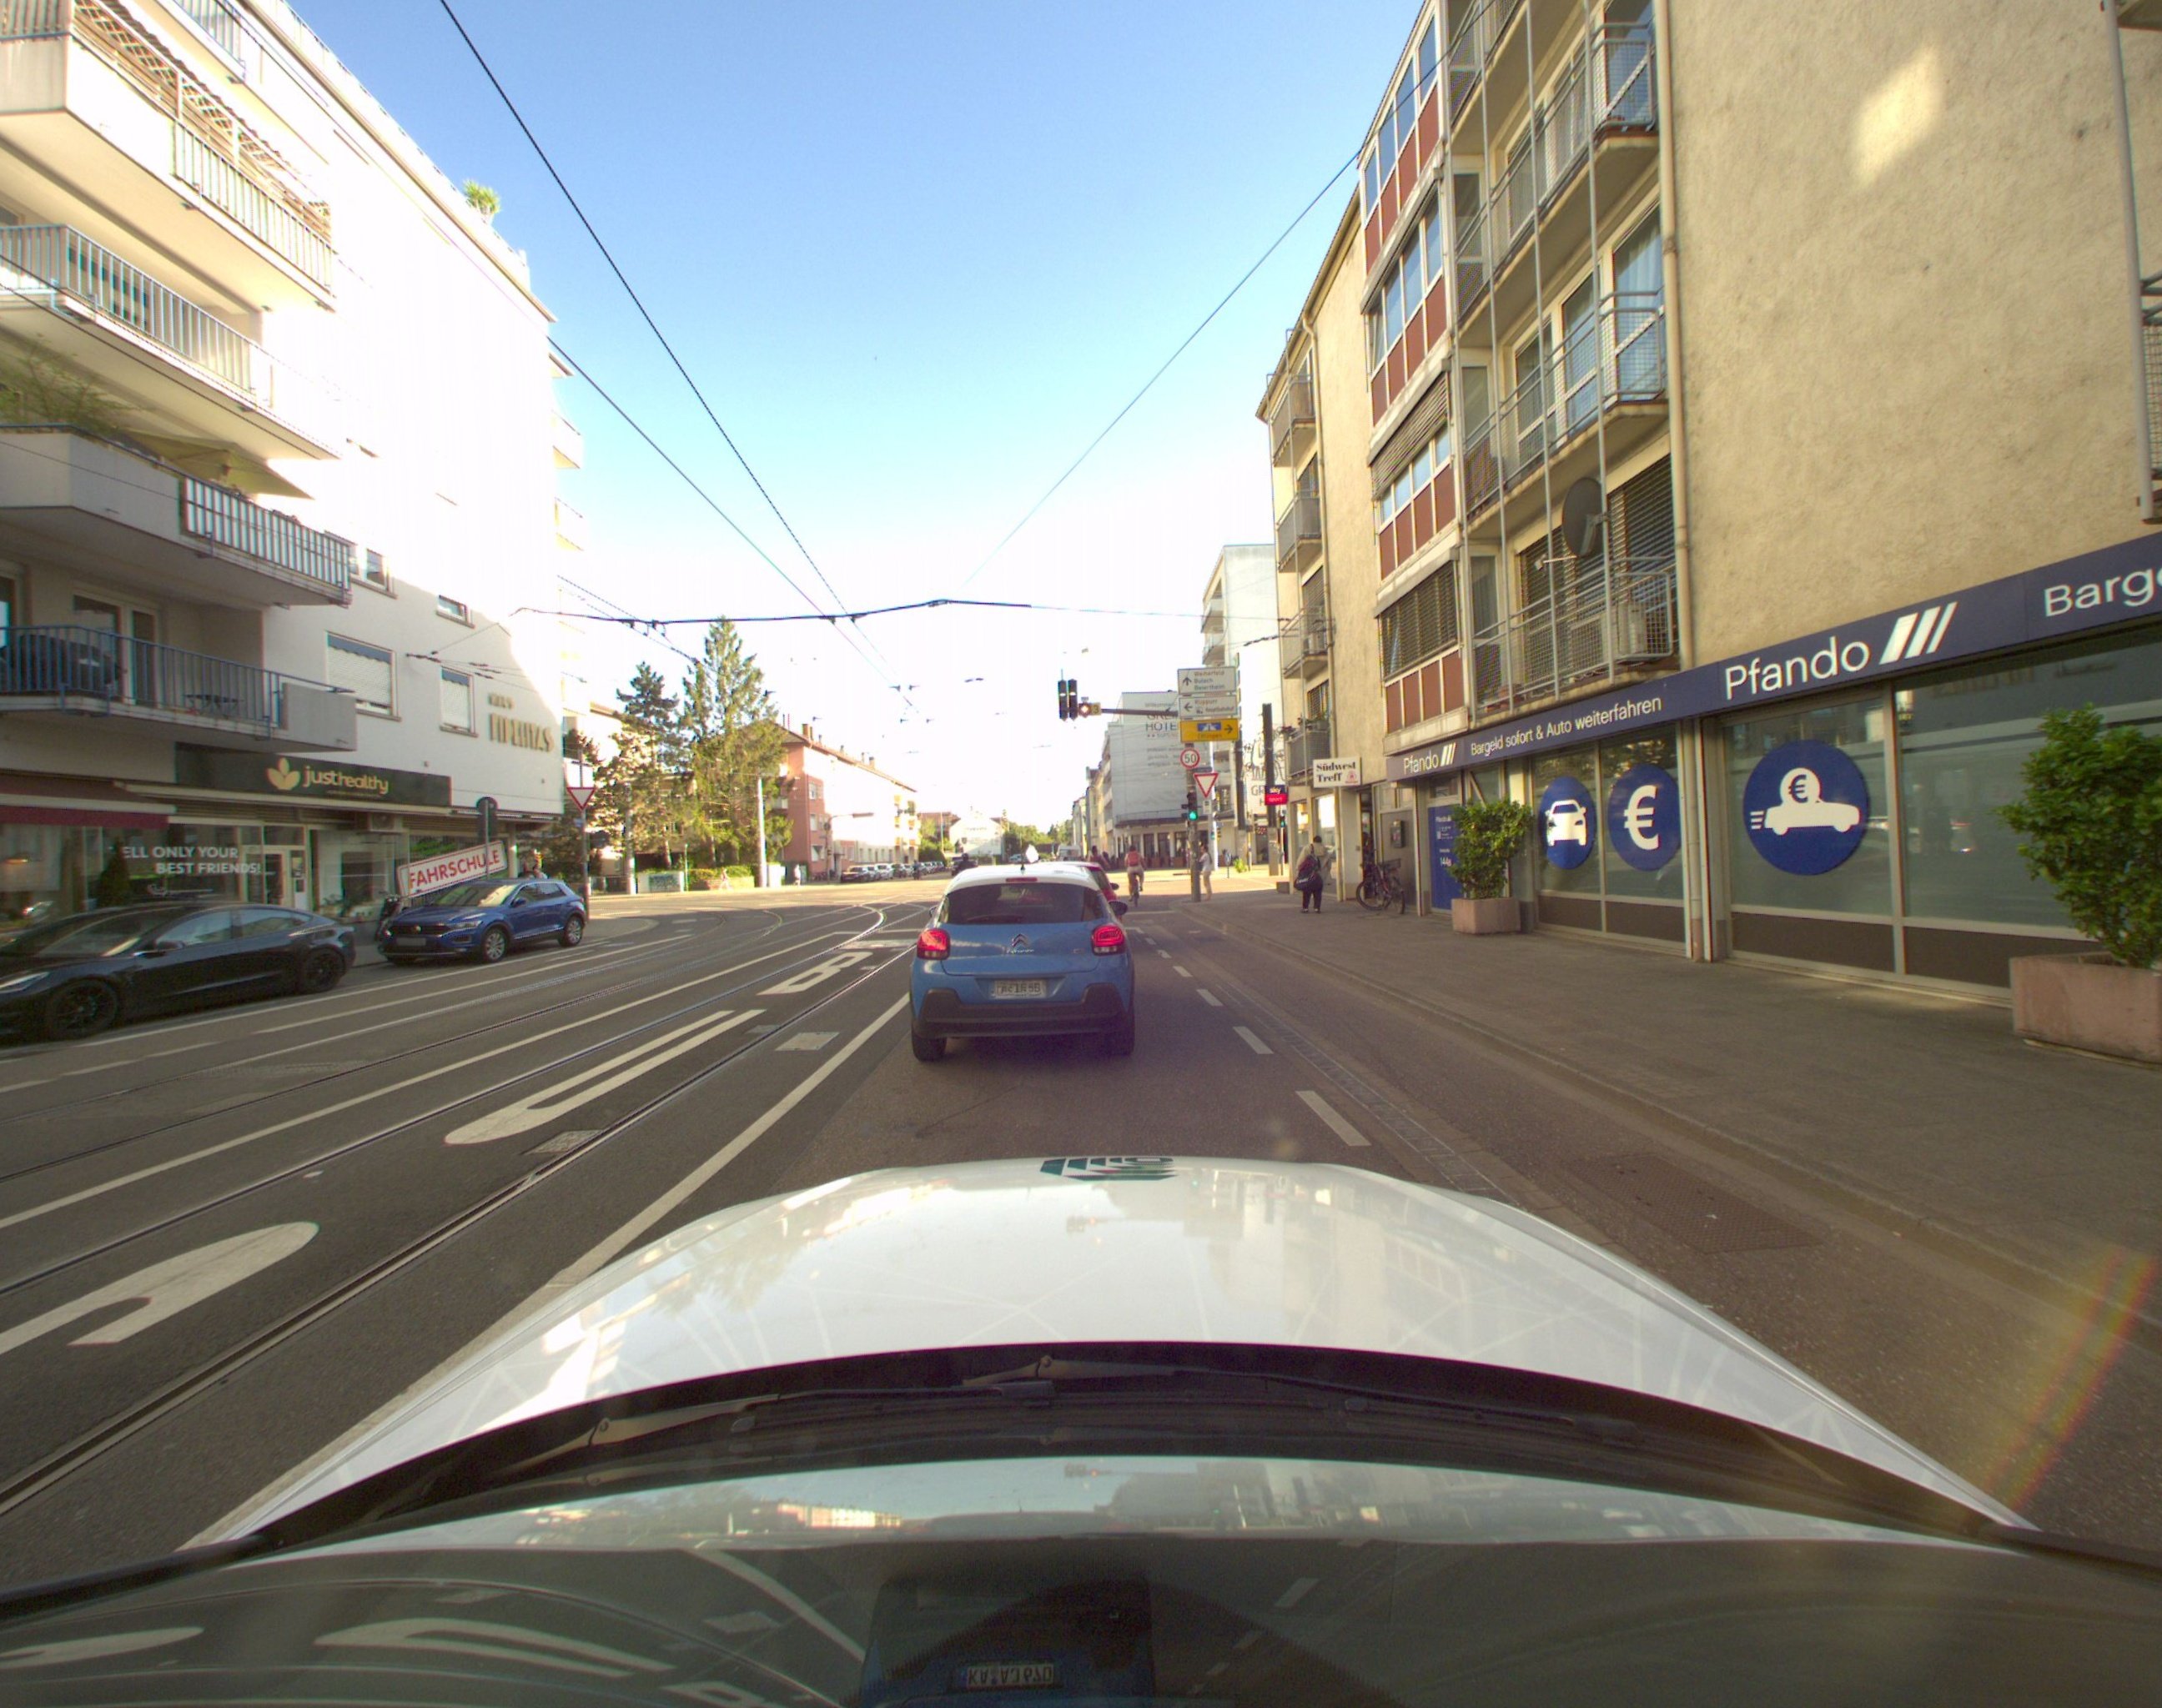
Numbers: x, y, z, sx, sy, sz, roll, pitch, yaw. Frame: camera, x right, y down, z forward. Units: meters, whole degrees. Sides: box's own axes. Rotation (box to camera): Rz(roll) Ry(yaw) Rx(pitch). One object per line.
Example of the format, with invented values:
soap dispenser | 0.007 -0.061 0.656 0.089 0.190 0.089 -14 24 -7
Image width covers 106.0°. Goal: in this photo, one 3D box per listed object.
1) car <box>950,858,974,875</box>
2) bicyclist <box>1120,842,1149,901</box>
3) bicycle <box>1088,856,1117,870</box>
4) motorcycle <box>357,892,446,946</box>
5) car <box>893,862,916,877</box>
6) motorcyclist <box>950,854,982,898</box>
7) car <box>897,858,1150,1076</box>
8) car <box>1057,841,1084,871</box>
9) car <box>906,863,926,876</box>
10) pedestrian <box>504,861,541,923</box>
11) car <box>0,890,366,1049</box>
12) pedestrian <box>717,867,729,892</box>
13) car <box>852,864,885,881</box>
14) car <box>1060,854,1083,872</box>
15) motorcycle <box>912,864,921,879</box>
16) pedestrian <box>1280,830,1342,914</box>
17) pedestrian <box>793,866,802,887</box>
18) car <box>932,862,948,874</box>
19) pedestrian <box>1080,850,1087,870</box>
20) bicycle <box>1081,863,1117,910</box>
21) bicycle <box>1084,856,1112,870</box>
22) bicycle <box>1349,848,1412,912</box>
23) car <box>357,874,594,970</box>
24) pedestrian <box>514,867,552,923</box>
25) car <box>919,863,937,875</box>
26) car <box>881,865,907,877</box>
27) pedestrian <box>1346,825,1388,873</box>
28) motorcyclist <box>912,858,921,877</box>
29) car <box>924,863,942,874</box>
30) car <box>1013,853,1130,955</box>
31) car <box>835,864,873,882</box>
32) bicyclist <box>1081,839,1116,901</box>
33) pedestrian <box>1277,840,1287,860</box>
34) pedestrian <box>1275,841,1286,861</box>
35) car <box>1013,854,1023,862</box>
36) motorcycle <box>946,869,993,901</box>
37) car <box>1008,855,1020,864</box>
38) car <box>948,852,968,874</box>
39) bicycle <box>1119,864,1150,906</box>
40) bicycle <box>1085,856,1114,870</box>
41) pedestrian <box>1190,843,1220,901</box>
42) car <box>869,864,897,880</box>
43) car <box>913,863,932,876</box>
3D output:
car | -11.208 1.203 76.962 1.775 1.486 3.824 -3 0 -3
bicyclist | 1.585 0.517 24.000 0.807 1.692 0.937 0 -1 6
bicycle | 1.762 0.737 65.942 2.246 1.001 0.855 -4 0 -4
motorcycle | -15.805 1.481 19.005 0.605 1.134 1.795 0 -1 -2
car | -20.067 1.745 92.740 1.865 1.576 3.995 0 -1 -3
motorcyclist | -3.950 0.749 28.043 0.861 1.488 0.721 0 -1 -34
car | -0.569 0.792 7.511 1.734 1.452 3.654 -1 0 -6
car | -0.972 0.187 73.037 2.260 2.482 5.002 -1 0 -3
car | -20.012 1.873 98.801 1.865 1.576 3.995 0 -1 -3
pedestrian | -17.288 1.176 25.226 0.568 1.900 0.742 -2 -3 16
car | -12.001 1.283 10.437 1.764 1.475 4.443 0 0 -1
pedestrian | -25.401 1.821 57.807 0.785 1.722 0.699 0 -1 -22
car | -19.468 1.670 74.706 1.897 1.436 4.102 0 0 0
car | -0.842 0.771 67.990 1.654 1.431 3.882 0 -1 -4
motorcycle | -13.607 1.454 67.440 0.712 1.220 1.957 -2 -2 -12
pedestrian | 4.674 0.356 16.603 0.883 1.592 0.809 -5 1 -7
pedestrian | -20.962 1.673 60.206 0.519 1.568 0.568 0 -1 -27
car | -20.761 2.045 119.667 1.865 1.576 3.995 0 -1 -3
pedestrian | 0.229 0.515 69.825 0.611 1.654 0.671 0 -1 0
bicycle | 0.486 0.869 22.611 0.937 1.223 2.094 0 -1 1
bicycle | 1.425 0.754 68.434 2.246 1.001 0.855 -4 0 -4
bicycle | 5.766 0.487 15.764 0.495 1.161 1.776 -2 -1 -1
car | -11.847 1.240 16.355 1.765 1.503 4.233 0 1 -4
pedestrian | -18.065 1.339 26.864 0.732 1.792 0.663 -2 0 5
car | -20.411 1.954 108.595 1.865 1.576 3.995 0 -1 -3
car | -19.874 1.769 86.826 1.942 1.239 4.279 0 0 -2
pedestrian | 6.743 -0.119 19.210 0.627 1.087 0.672 -3 1 -36
motorcyclist | -13.579 1.128 67.265 0.694 1.497 0.681 -2 -2 -12
car | -20.585 1.994 113.389 1.865 1.576 3.995 0 -1 -3
car | -0.233 0.752 14.321 1.780 1.521 3.758 0 0 -3
car | -19.375 1.629 69.691 2.149 1.432 4.435 0 -2 -3
bicyclist | 0.483 0.443 22.553 0.937 1.673 1.079 0 -1 0
pedestrian | 16.505 -0.331 66.908 0.604 1.608 0.673 -1 -1 32
pedestrian | 15.692 -0.226 64.050 0.604 1.608 0.673 -1 -1 29
car | -14.552 0.956 188.456 2.068 1.762 5.034 0 0 -1
motorcycle | -3.849 1.049 27.904 0.861 1.047 1.922 0 -1 -33
car | -14.096 1.201 170.557 2.212 1.932 4.946 0 -1 -1
car | -18.063 1.262 119.721 2.411 3.142 3.487 0 -1 -1
bicycle | 1.600 0.888 24.068 0.807 1.181 2.068 0 -1 6
bicycle | 1.533 0.740 67.316 2.246 1.001 0.855 -4 0 -4
pedestrian | 3.684 0.526 24.169 0.534 1.623 0.737 -7 -3 23
car | -19.415 1.750 79.917 1.737 1.526 4.227 0 0 -1
car | -20.082 1.909 103.300 1.865 1.576 3.995 0 -1 -3
